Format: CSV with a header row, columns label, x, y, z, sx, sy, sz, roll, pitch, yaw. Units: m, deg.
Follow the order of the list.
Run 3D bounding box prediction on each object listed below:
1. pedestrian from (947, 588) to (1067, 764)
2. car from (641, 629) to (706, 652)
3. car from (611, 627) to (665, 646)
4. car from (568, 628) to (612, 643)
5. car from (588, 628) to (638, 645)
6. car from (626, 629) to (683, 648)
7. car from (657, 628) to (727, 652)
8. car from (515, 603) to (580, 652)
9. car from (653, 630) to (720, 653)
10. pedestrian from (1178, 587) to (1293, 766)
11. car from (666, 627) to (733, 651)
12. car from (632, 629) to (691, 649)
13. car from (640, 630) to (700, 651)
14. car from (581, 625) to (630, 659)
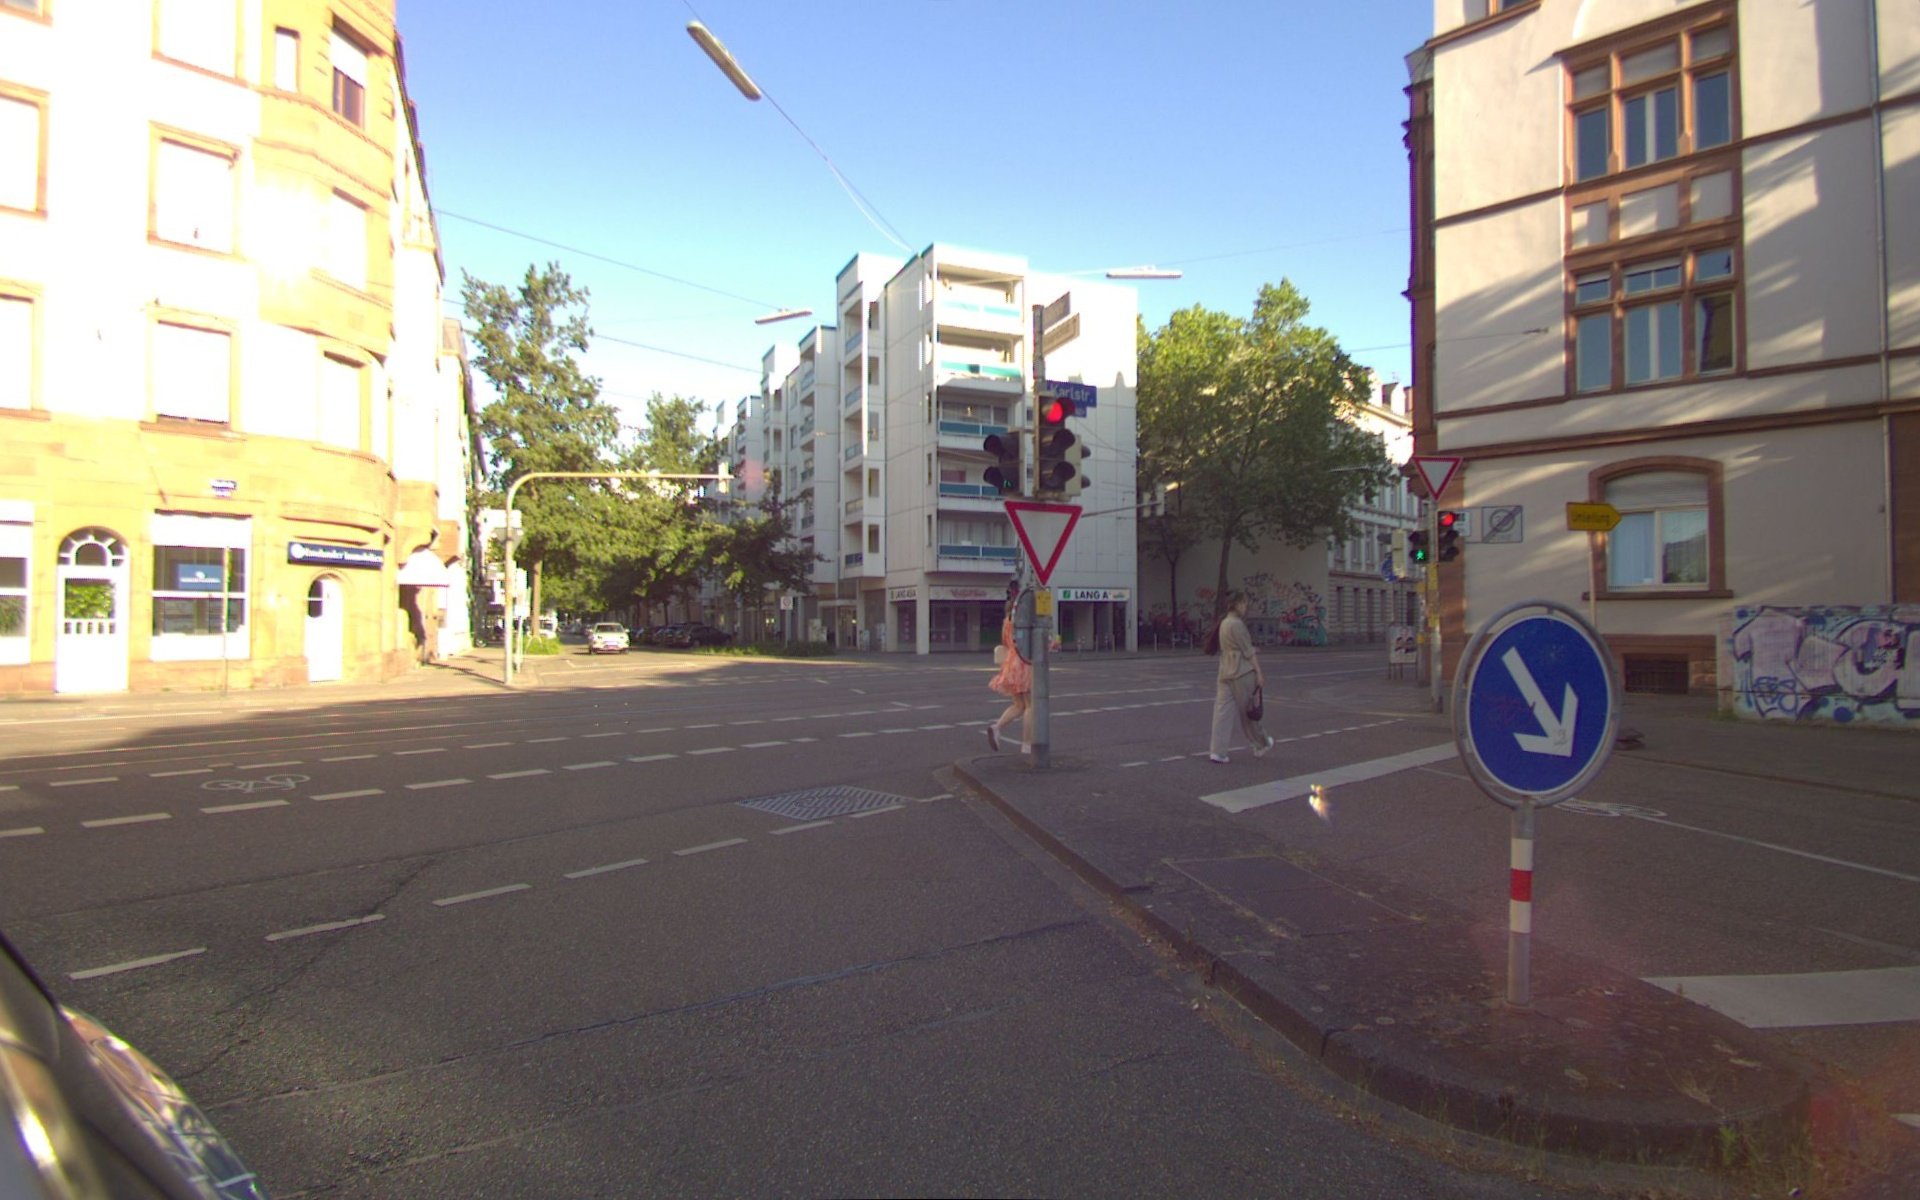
label,x,y,z,sx,sy,sz,roll,pitch,yaw
pedestrian,0.492,0.754,10.464,0.867,1.710,0.973,-1,-2,33
car,-20.990,2.941,74.136,4.231,1.597,2.006,1,-2,-32
car,-28.343,3.225,89.151,4.231,1.597,2.006,1,-2,-30
car,-40.691,3.913,111.402,4.231,1.597,2.006,1,-2,-30
car,-33.616,3.539,98.012,4.231,1.597,2.006,1,-2,-30
car,-25.651,3.216,85.039,4.231,1.597,2.006,1,-2,-30
car,-18.488,2.756,69.797,4.231,1.597,2.006,1,-2,-32
car,-28.788,1.920,70.470,3.269,3.203,8.108,1,-2,-29
car,-19.512,2.938,72.182,4.231,1.597,2.006,1,-2,-32
pedestrian,2.813,0.749,10.317,0.867,1.710,0.973,-1,-2,33
car,-17.374,2.594,67.613,3.932,1.597,2.006,1,-2,-32
car,-24.466,3.210,82.928,4.231,1.597,2.006,1,-2,-30
car,-22.922,3.201,80.012,4.231,1.597,2.006,1,-2,-30
car,-18.778,2.191,53.487,1.965,1.763,4.013,1,-2,-26
